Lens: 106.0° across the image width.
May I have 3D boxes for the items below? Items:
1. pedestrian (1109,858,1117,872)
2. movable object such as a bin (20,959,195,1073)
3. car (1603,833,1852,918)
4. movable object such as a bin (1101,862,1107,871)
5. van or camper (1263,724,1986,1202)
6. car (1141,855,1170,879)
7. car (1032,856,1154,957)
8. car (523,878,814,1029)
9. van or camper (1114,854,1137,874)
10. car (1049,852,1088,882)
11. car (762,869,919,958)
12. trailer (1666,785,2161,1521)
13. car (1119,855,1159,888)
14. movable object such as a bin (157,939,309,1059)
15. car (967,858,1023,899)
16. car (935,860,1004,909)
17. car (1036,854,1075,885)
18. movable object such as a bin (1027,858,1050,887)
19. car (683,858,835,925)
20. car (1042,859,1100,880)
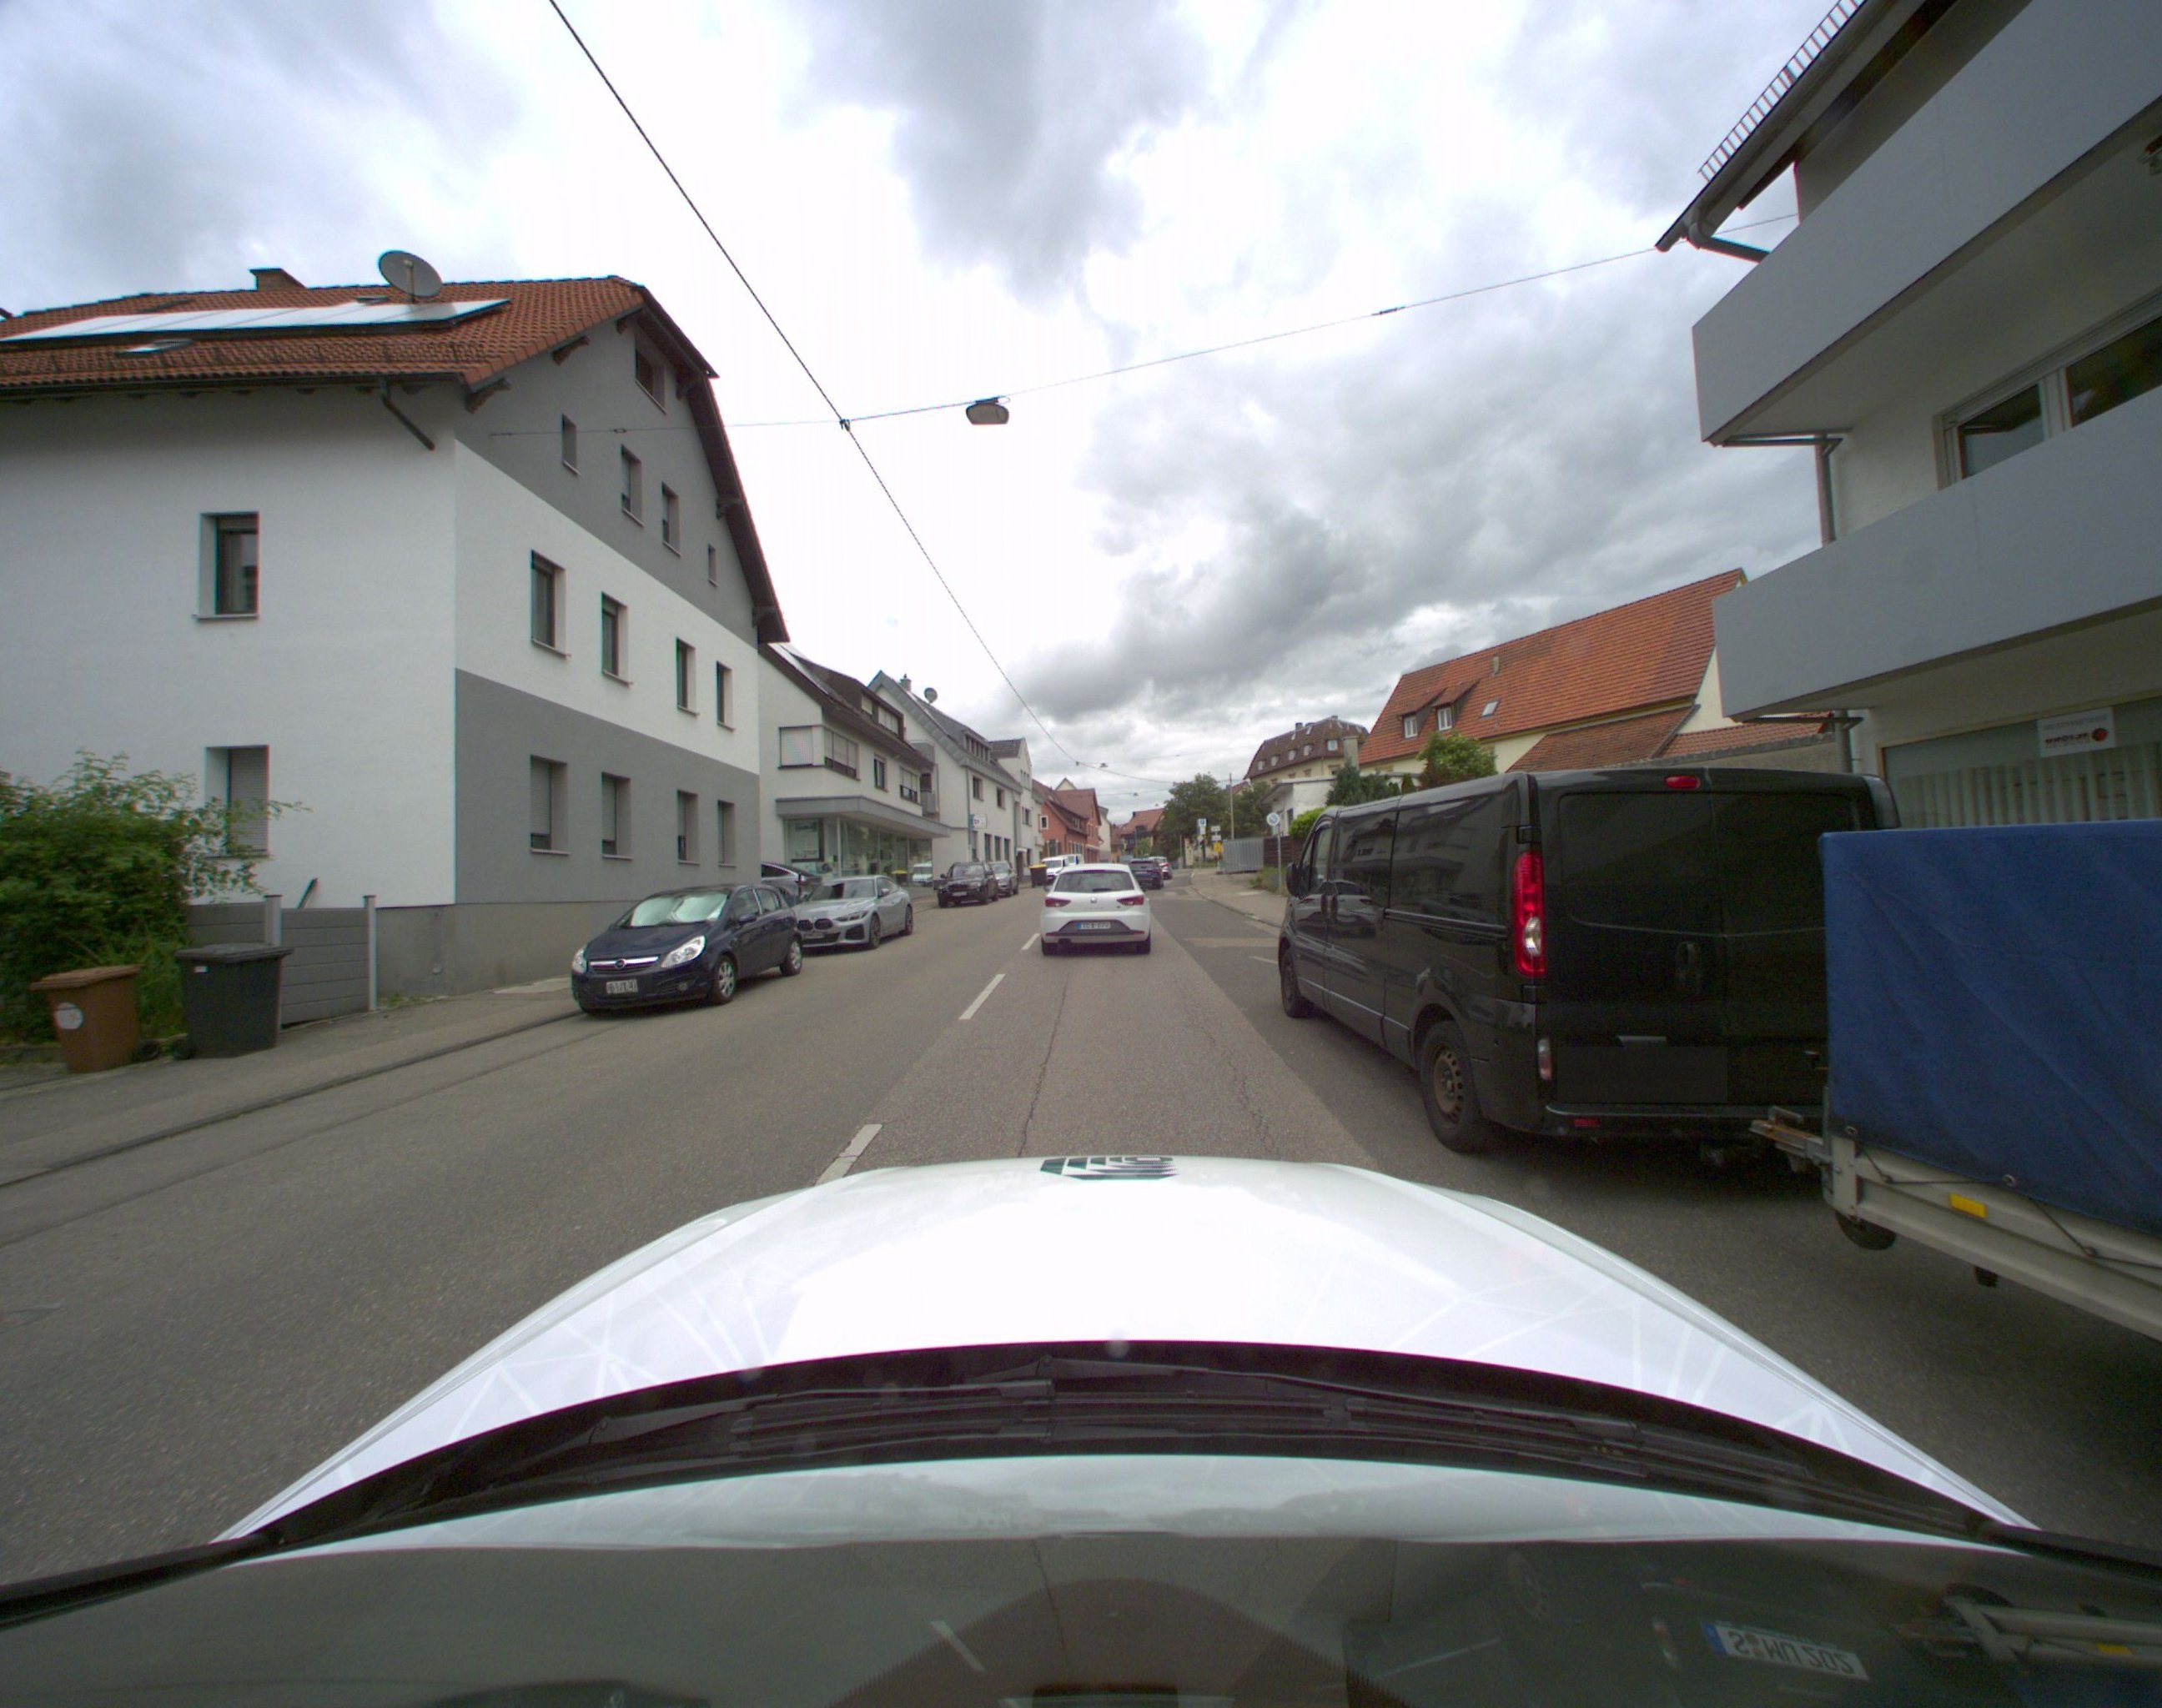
[{"bbox_3d":[3.964,1.375,101.382,0.796,1.785,0.895,-2,-1,8],"label":"pedestrian"},{"bbox_3d":[-9.082,1.490,7.634,0.674,0.891,0.759,0,2,1],"label":"movable object such as a bin"},{"bbox_3d":[11.945,0.376,15.224,3.302,1.487,1.726,0,0,0],"label":"car"},{"bbox_3d":[2.969,1.592,102.992,0.662,1.018,0.796,-3,-1,5],"label":"movable object such as a bin"},{"bbox_3d":[2.864,0.471,5.976,1.987,2.014,5.064,0,0,1],"label":"van or camper"},{"bbox_3d":[4.837,0.881,52.724,1.750,1.452,4.005,-2,-2,5],"label":"car"},{"bbox_3d":[0.355,0.828,14.215,1.750,1.452,4.006,-2,-1,5],"label":"car"},{"bbox_3d":[-5.217,1.150,11.004,1.832,1.445,3.998,-4,0,-1],"label":"car"},{"bbox_3d":[5.111,1.209,93.313,2.062,2.006,4.867,-5,-3,8],"label":"van or camper"},{"bbox_3d":[-0.844,0.891,59.965,1.801,2.005,4.777,-5,-1,10],"label":"car"},{"bbox_3d":[-4.870,1.140,17.215,1.831,1.445,4.468,-4,0,1],"label":"car"},{"bbox_3d":[3.005,0.629,1.703,1.419,1.567,2.831,-1,0,-4],"label":"trailer"},{"bbox_3d":[2.787,0.848,38.518,1.750,1.452,4.006,-2,-2,6],"label":"car"},{"bbox_3d":[-8.257,1.390,7.963,0.674,1.045,0.759,0,-1,1],"label":"movable object such as a bin"},{"bbox_3d":[-3.847,1.039,36.982,1.830,1.633,4.410,-4,0,2],"label":"car"},{"bbox_3d":[-4.223,1.105,31.560,1.830,1.633,4.410,-4,0,2],"label":"car"},{"bbox_3d":[-1.666,1.001,54.644,1.724,1.832,4.307,-5,-1,8],"label":"car"},{"bbox_3d":[-2.500,1.116,48.619,1.136,1.633,1.563,-4,-1,2],"label":"movable object such as a bin"},{"bbox_3d":[-10.343,1.178,26.357,3.970,1.856,2.002,-3,-1,3],"label":"car"},{"bbox_3d":[-0.811,1.285,69.712,4.524,1.445,2.006,-4,-1,11],"label":"car"}]
